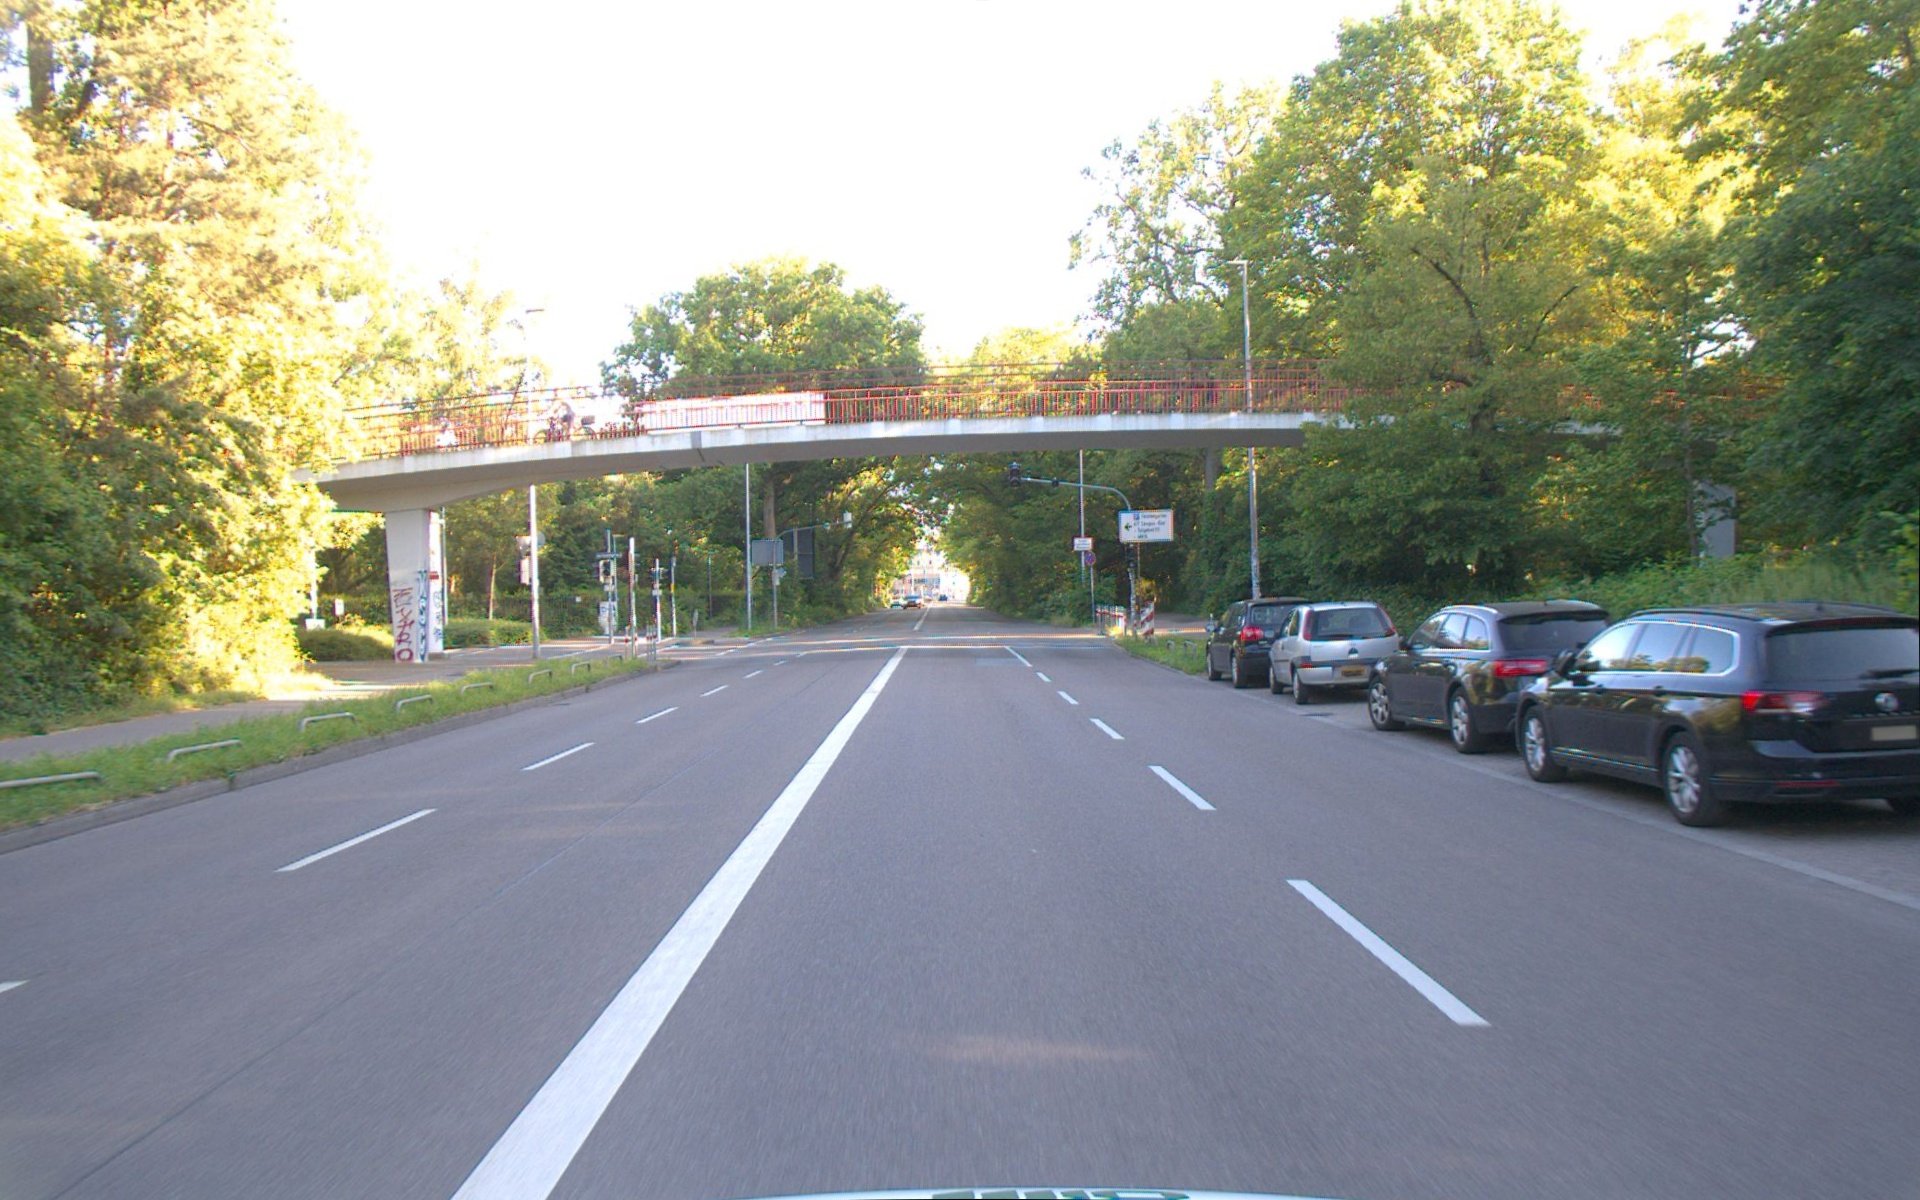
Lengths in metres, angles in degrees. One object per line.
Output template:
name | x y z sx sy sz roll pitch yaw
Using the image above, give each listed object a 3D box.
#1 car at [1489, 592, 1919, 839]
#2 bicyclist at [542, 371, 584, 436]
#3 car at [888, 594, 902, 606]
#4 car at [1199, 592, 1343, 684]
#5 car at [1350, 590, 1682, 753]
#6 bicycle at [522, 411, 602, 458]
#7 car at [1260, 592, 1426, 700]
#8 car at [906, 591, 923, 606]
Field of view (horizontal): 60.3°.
car | 5.759 0.717 12.726 1.604 1.479 4.895 -2 0 -2
bicyclist | -10.528 -5.201 43.876 0.951 1.614 0.714 0 -1 -3
car | -8.629 -0.024 218.710 1.761 1.533 4.362 -2 0 -2
car | 5.555 0.640 30.059 1.738 1.479 4.387 -2 0 0
car | 5.857 0.682 18.164 1.739 1.479 5.035 -2 0 -2
bicycle | -10.537 -4.387 43.862 1.947 1.167 0.714 0 -1 -3
car | 5.838 0.664 25.653 1.737 1.479 4.015 -2 0 2
car | -4.971 -0.125 181.060 1.849 1.533 4.362 -2 0 -2
